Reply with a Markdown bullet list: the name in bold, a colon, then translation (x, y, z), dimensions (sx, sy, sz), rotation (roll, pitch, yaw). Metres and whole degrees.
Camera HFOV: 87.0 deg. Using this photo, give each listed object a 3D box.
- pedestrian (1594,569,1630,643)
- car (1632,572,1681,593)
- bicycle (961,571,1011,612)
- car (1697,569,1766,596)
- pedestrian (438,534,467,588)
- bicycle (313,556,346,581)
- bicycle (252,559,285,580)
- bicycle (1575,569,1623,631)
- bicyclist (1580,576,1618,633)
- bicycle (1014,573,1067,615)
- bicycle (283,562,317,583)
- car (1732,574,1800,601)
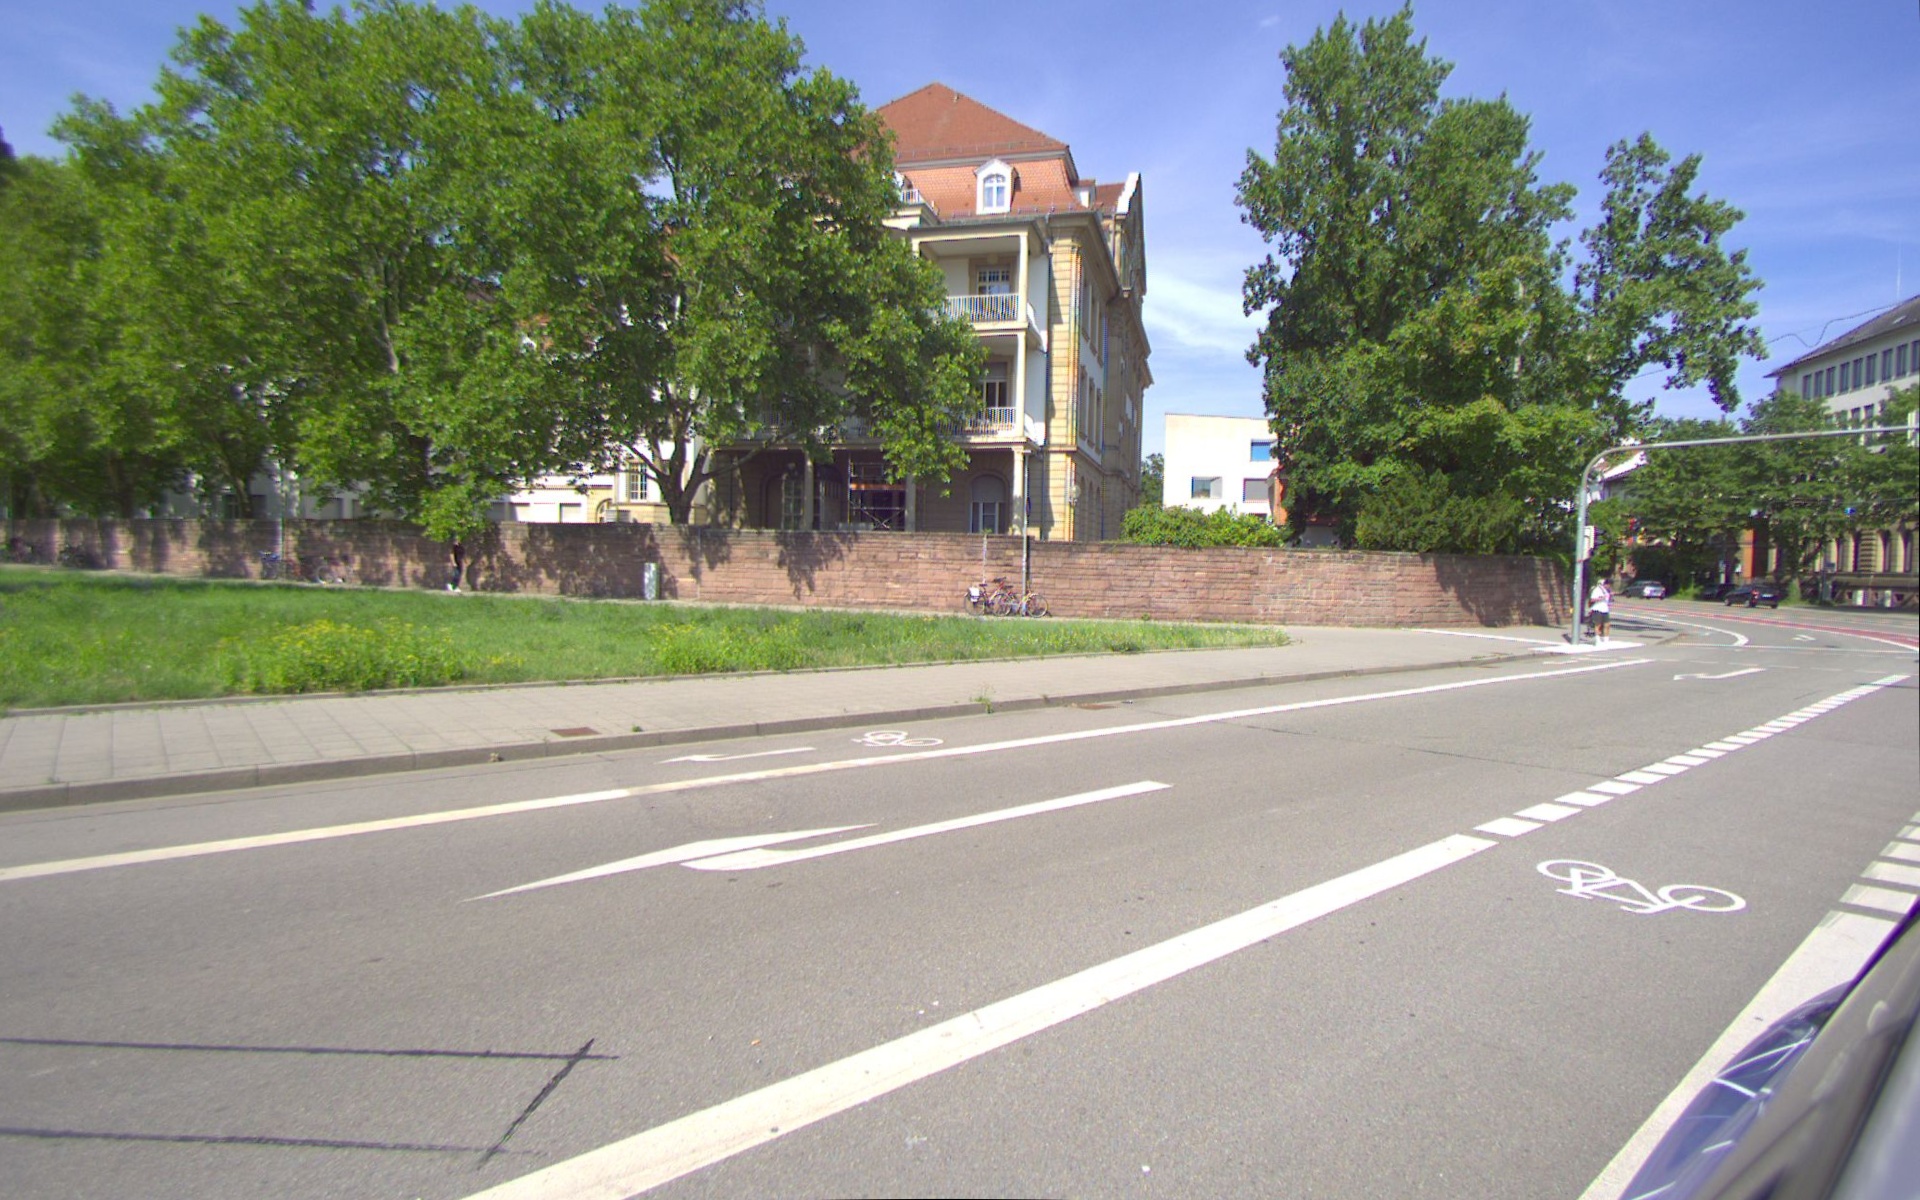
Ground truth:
- **pedestrian**: translation (17.349, 0.147, 26.932), dimensions (0.649, 1.897, 0.788), rotation (4, 3, 31)
- **car**: translation (56.363, -1.435, 82.001), dimensions (1.772, 1.429, 3.988), rotation (3, 3, 12)
- **bicycle**: translation (0.742, -0.233, 28.598), dimensions (1.406, 1.136, 0.350), rotation (1, 2, -27)
- **car**: translation (63.652, -1.481, 83.524), dimensions (3.941, 2.038, 1.992), rotation (2, 2, 14)
- **pedestrian**: translation (-16.947, -1.290, 33.779), dimensions (0.592, 1.761, 0.616), rotation (2, 2, 20)
- **bicycle**: translation (-22.755, -1.138, 36.526), dimensions (1.294, 0.866, 0.369), rotation (3, 2, 25)
- **bicycle**: translation (-25.669, -1.149, 37.545), dimensions (1.350, 0.737, 0.338), rotation (3, 2, 23)
- **bicycle**: translation (19.425, -0.012, 30.755), dimensions (1.779, 1.787, 0.679), rotation (0, 3, -41)
- **bicyclist**: translation (19.421, 0.125, 30.768), dimensions (0.903, 1.675, 0.679), rotation (0, 2, -41)
- **bicycle**: translation (2.279, -0.164, 28.691), dimensions (1.406, 1.136, 0.350), rotation (1, 2, -6)
- **bicycle**: translation (-24.107, -1.010, 36.974), dimensions (1.350, 0.737, 0.338), rotation (3, 2, 23)
- **car**: translation (51.985, -0.833, 65.351), dimensions (1.644, 1.468, 3.811), rotation (3, 3, 8)
